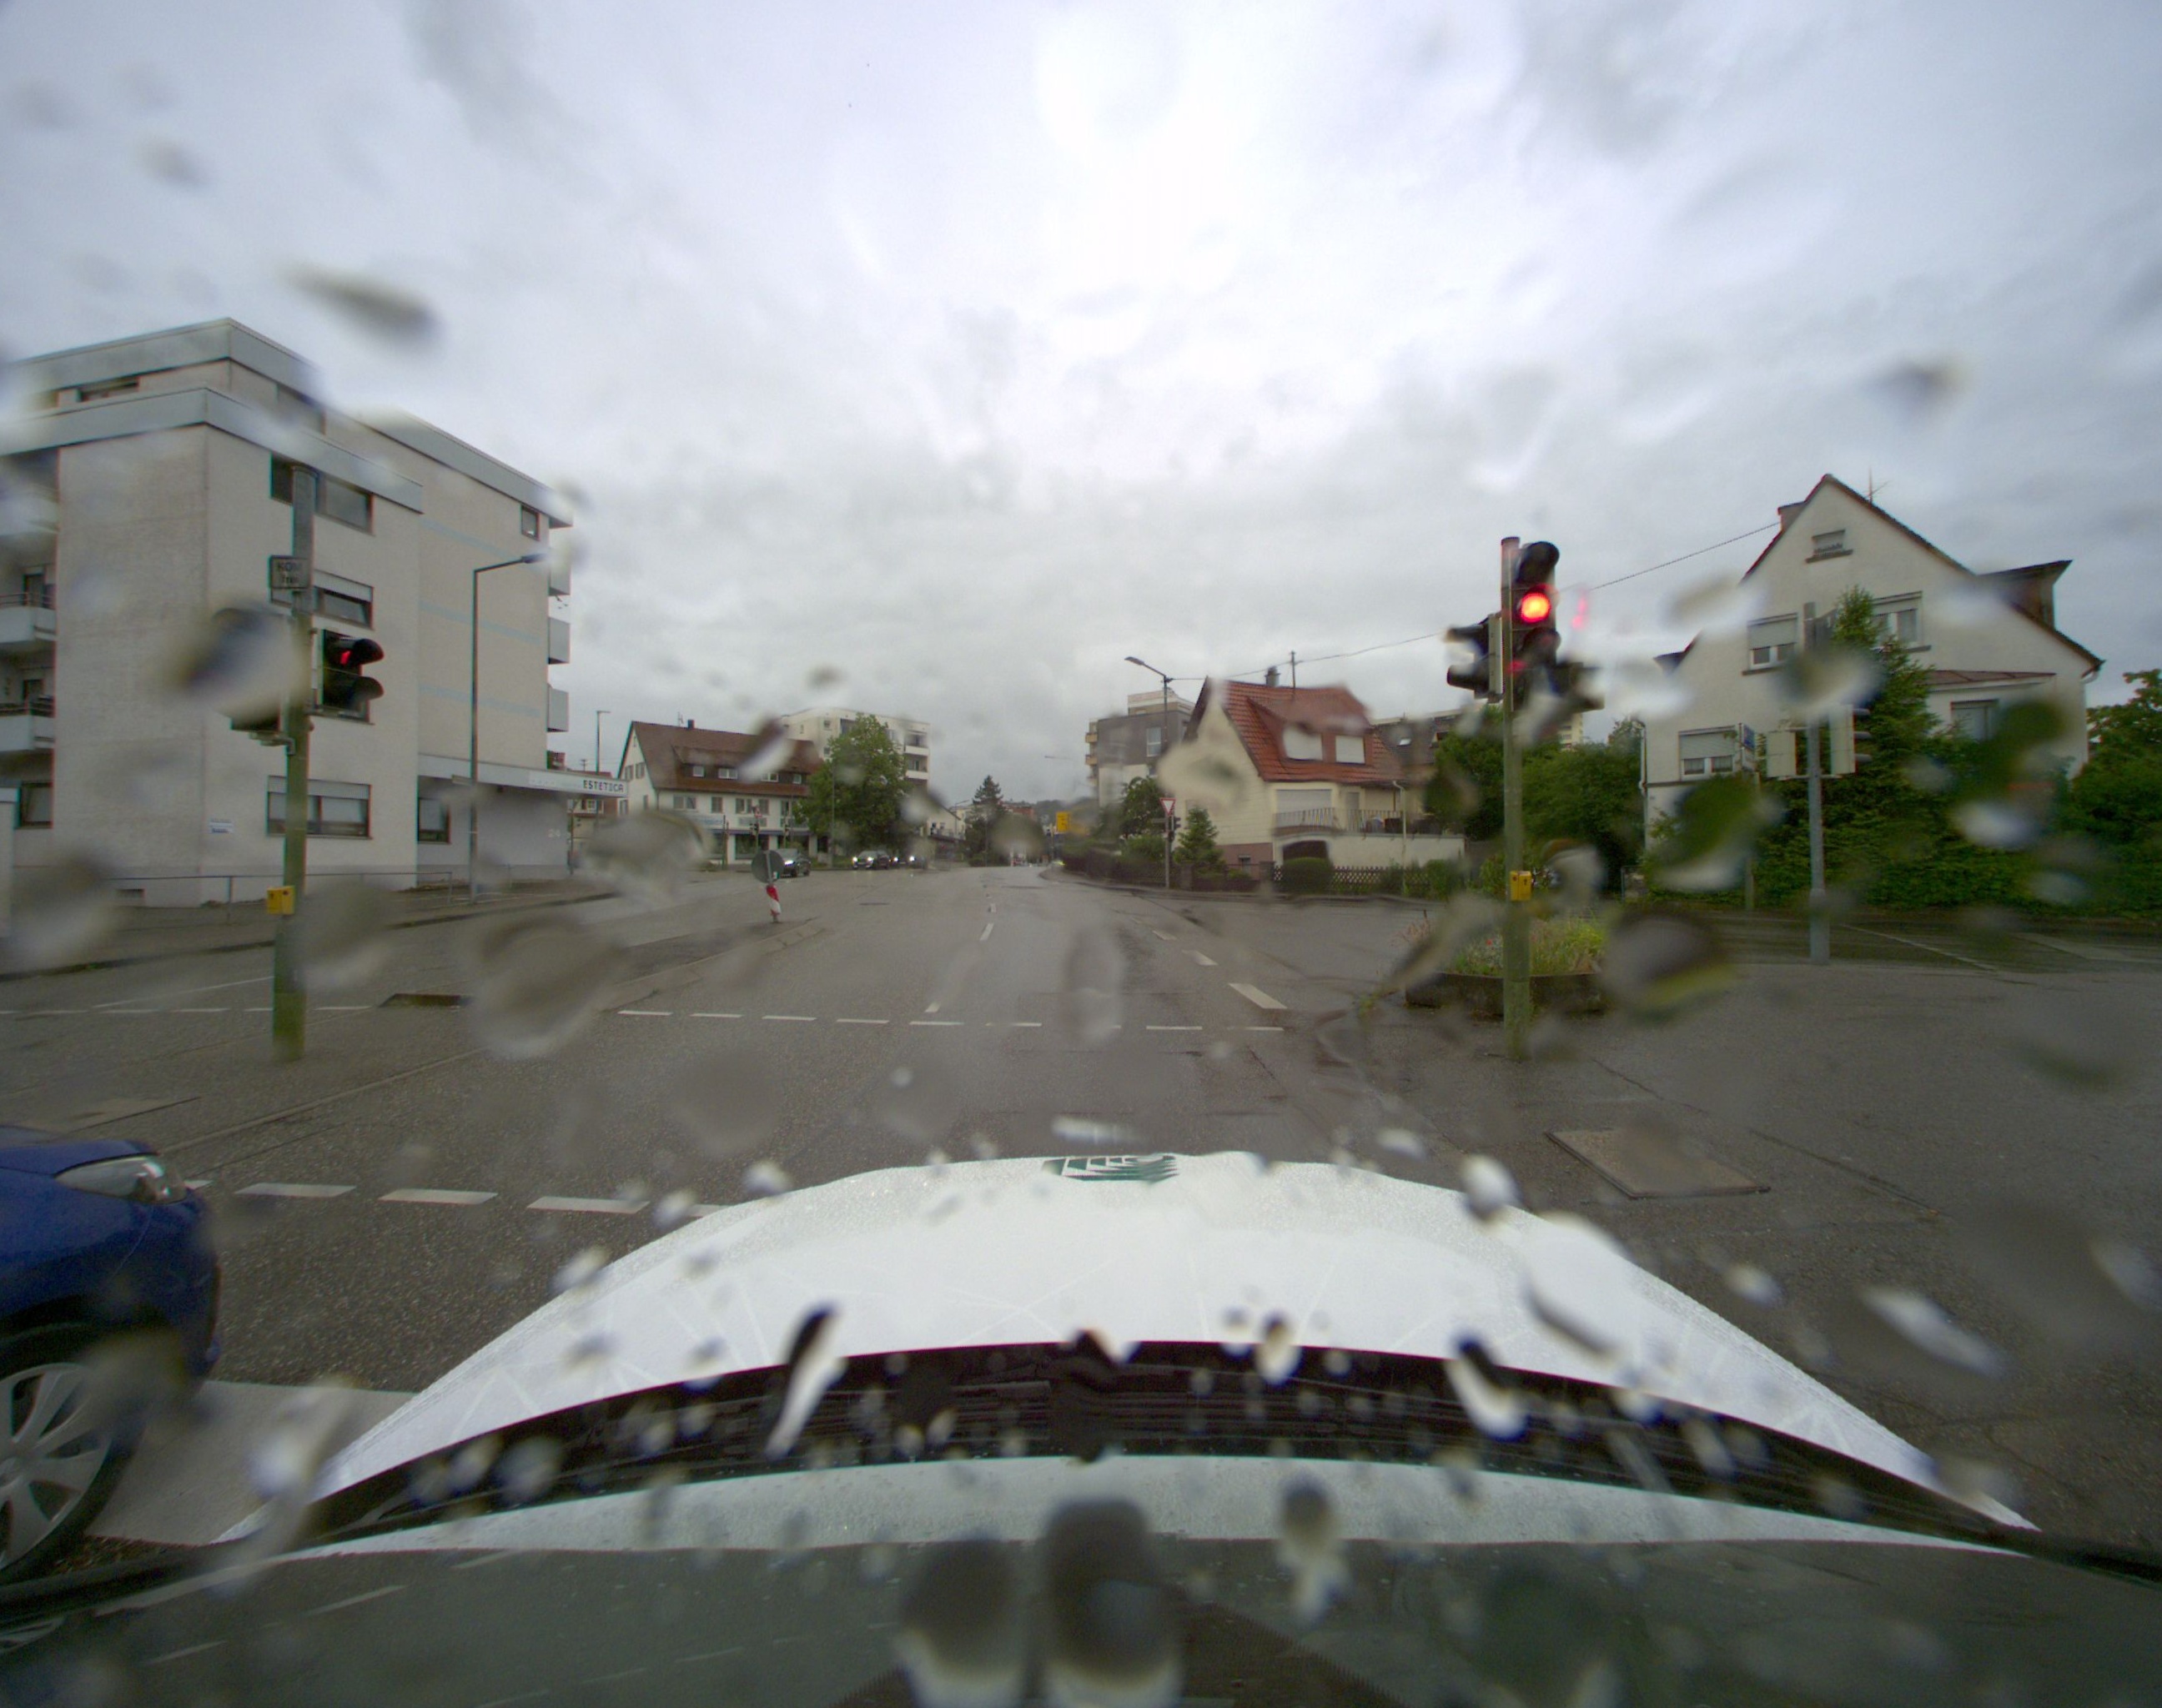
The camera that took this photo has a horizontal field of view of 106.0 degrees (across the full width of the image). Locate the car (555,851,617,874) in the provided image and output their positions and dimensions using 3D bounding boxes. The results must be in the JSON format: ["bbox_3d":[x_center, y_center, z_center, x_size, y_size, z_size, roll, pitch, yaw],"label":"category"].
[{"bbox_3d":[-41.223,0.669,67.817,4.093,1.843,1.864,0,-1,-44],"label":"car"}]

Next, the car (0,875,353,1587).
[{"bbox_3d":[-2.961,0.780,0.739,1.499,1.413,3.365,0,0,2],"label":"car"}]

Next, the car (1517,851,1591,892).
[{"bbox_3d":[17.103,0.600,29.384,1.794,1.362,4.025,-1,-1,37],"label":"car"}]

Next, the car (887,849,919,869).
[{"bbox_3d":[-15.246,0.424,69.967,1.873,1.597,4.184,0,-1,0],"label":"car"}]

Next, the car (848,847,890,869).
[{"bbox_3d":[-15.714,0.296,60.454,1.960,1.512,4.001,0,-1,1],"label":"car"}]

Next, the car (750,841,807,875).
[{"bbox_3d":[-15.347,0.215,41.189,2.006,1.625,4.495,0,-1,-30],"label":"car"}]

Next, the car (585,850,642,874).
[{"bbox_3d":[-38.449,0.630,66.994,3.706,1.920,1.864,0,-1,-44],"label":"car"}]

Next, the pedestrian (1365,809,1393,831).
[{"bbox_3d":[12.763,-1.432,34.870,0.918,0.883,0.632,0,-3,-18],"label":"pedestrian"}]
